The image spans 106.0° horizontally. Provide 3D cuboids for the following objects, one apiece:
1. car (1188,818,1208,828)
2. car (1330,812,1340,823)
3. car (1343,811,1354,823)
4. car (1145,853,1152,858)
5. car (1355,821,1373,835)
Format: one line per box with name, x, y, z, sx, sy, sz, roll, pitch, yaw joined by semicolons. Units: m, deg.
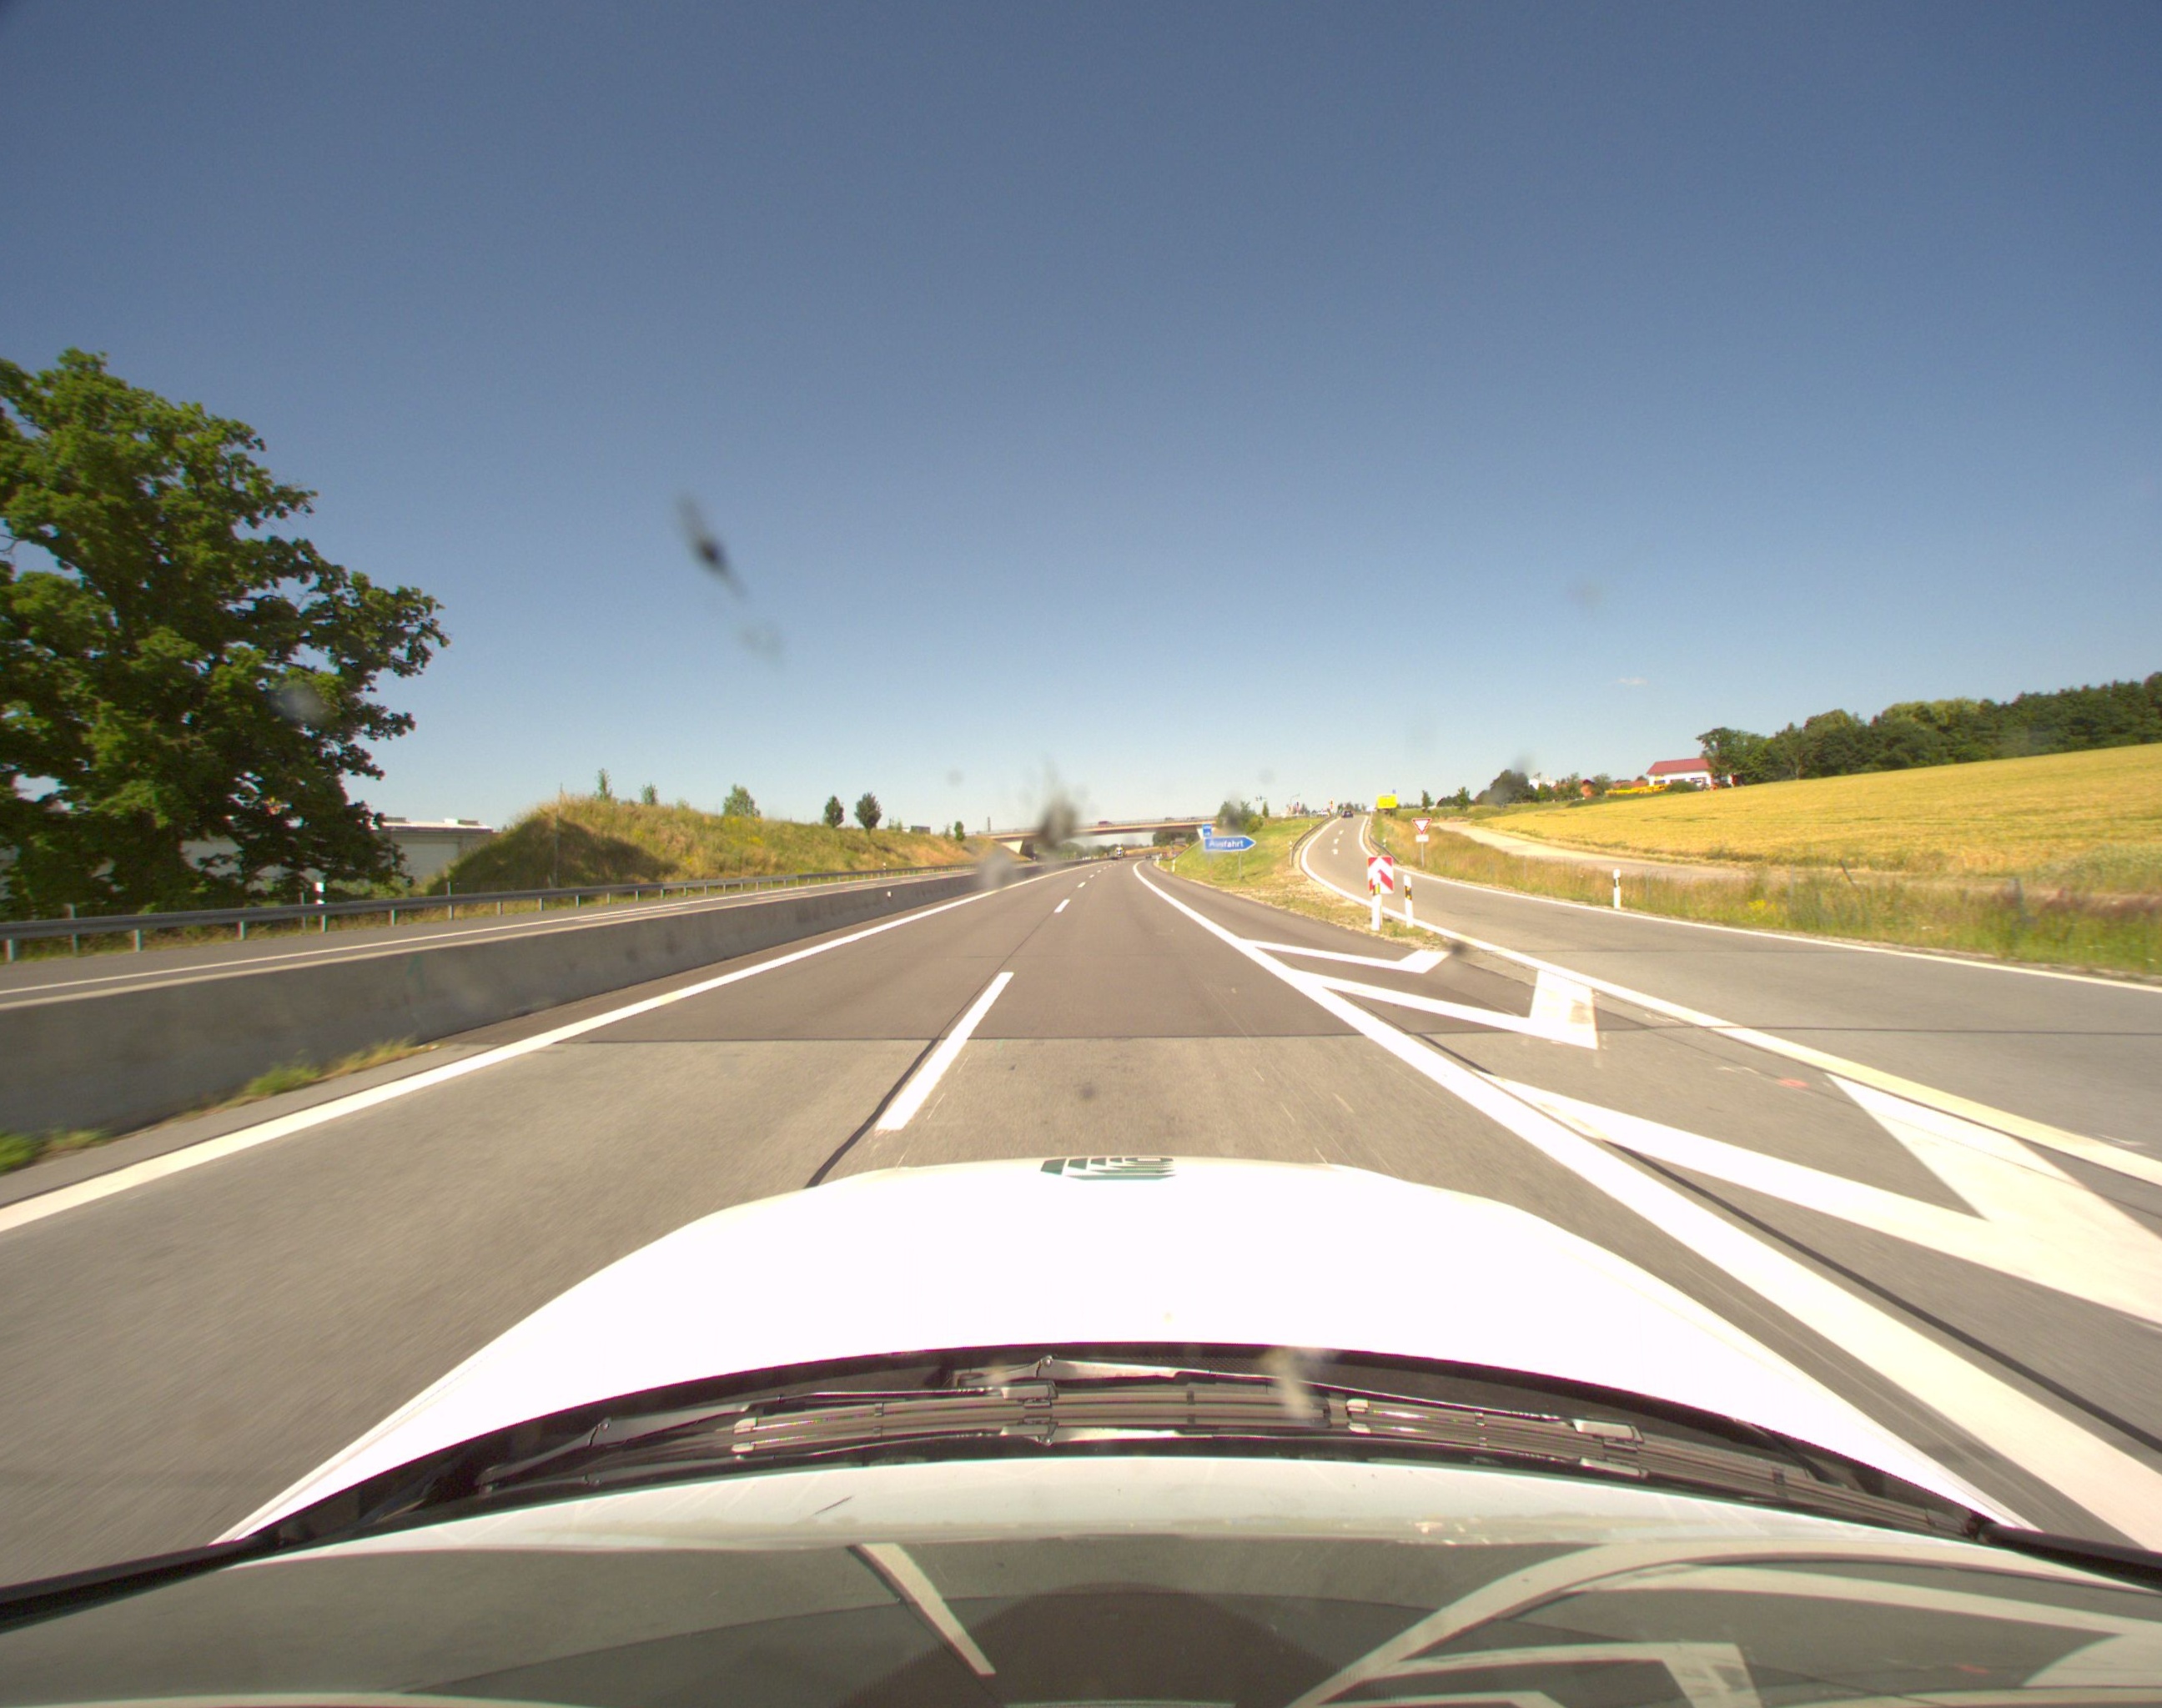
car;28.603;-7.548;199.176;4.239;2.021;1.998;-3;0;-3
car;52.761;-7.574;169.055;1.978;2.013;4.018;-3;0;17
car;52.862;-7.341;161.116;1.978;2.013;4.018;-3;0;17
car;20.620;0.556;248.676;1.986;1.420;4.002;-3;0;2
car;36.028;-3.306;103.833;1.978;1.618;4.018;-3;0;17
